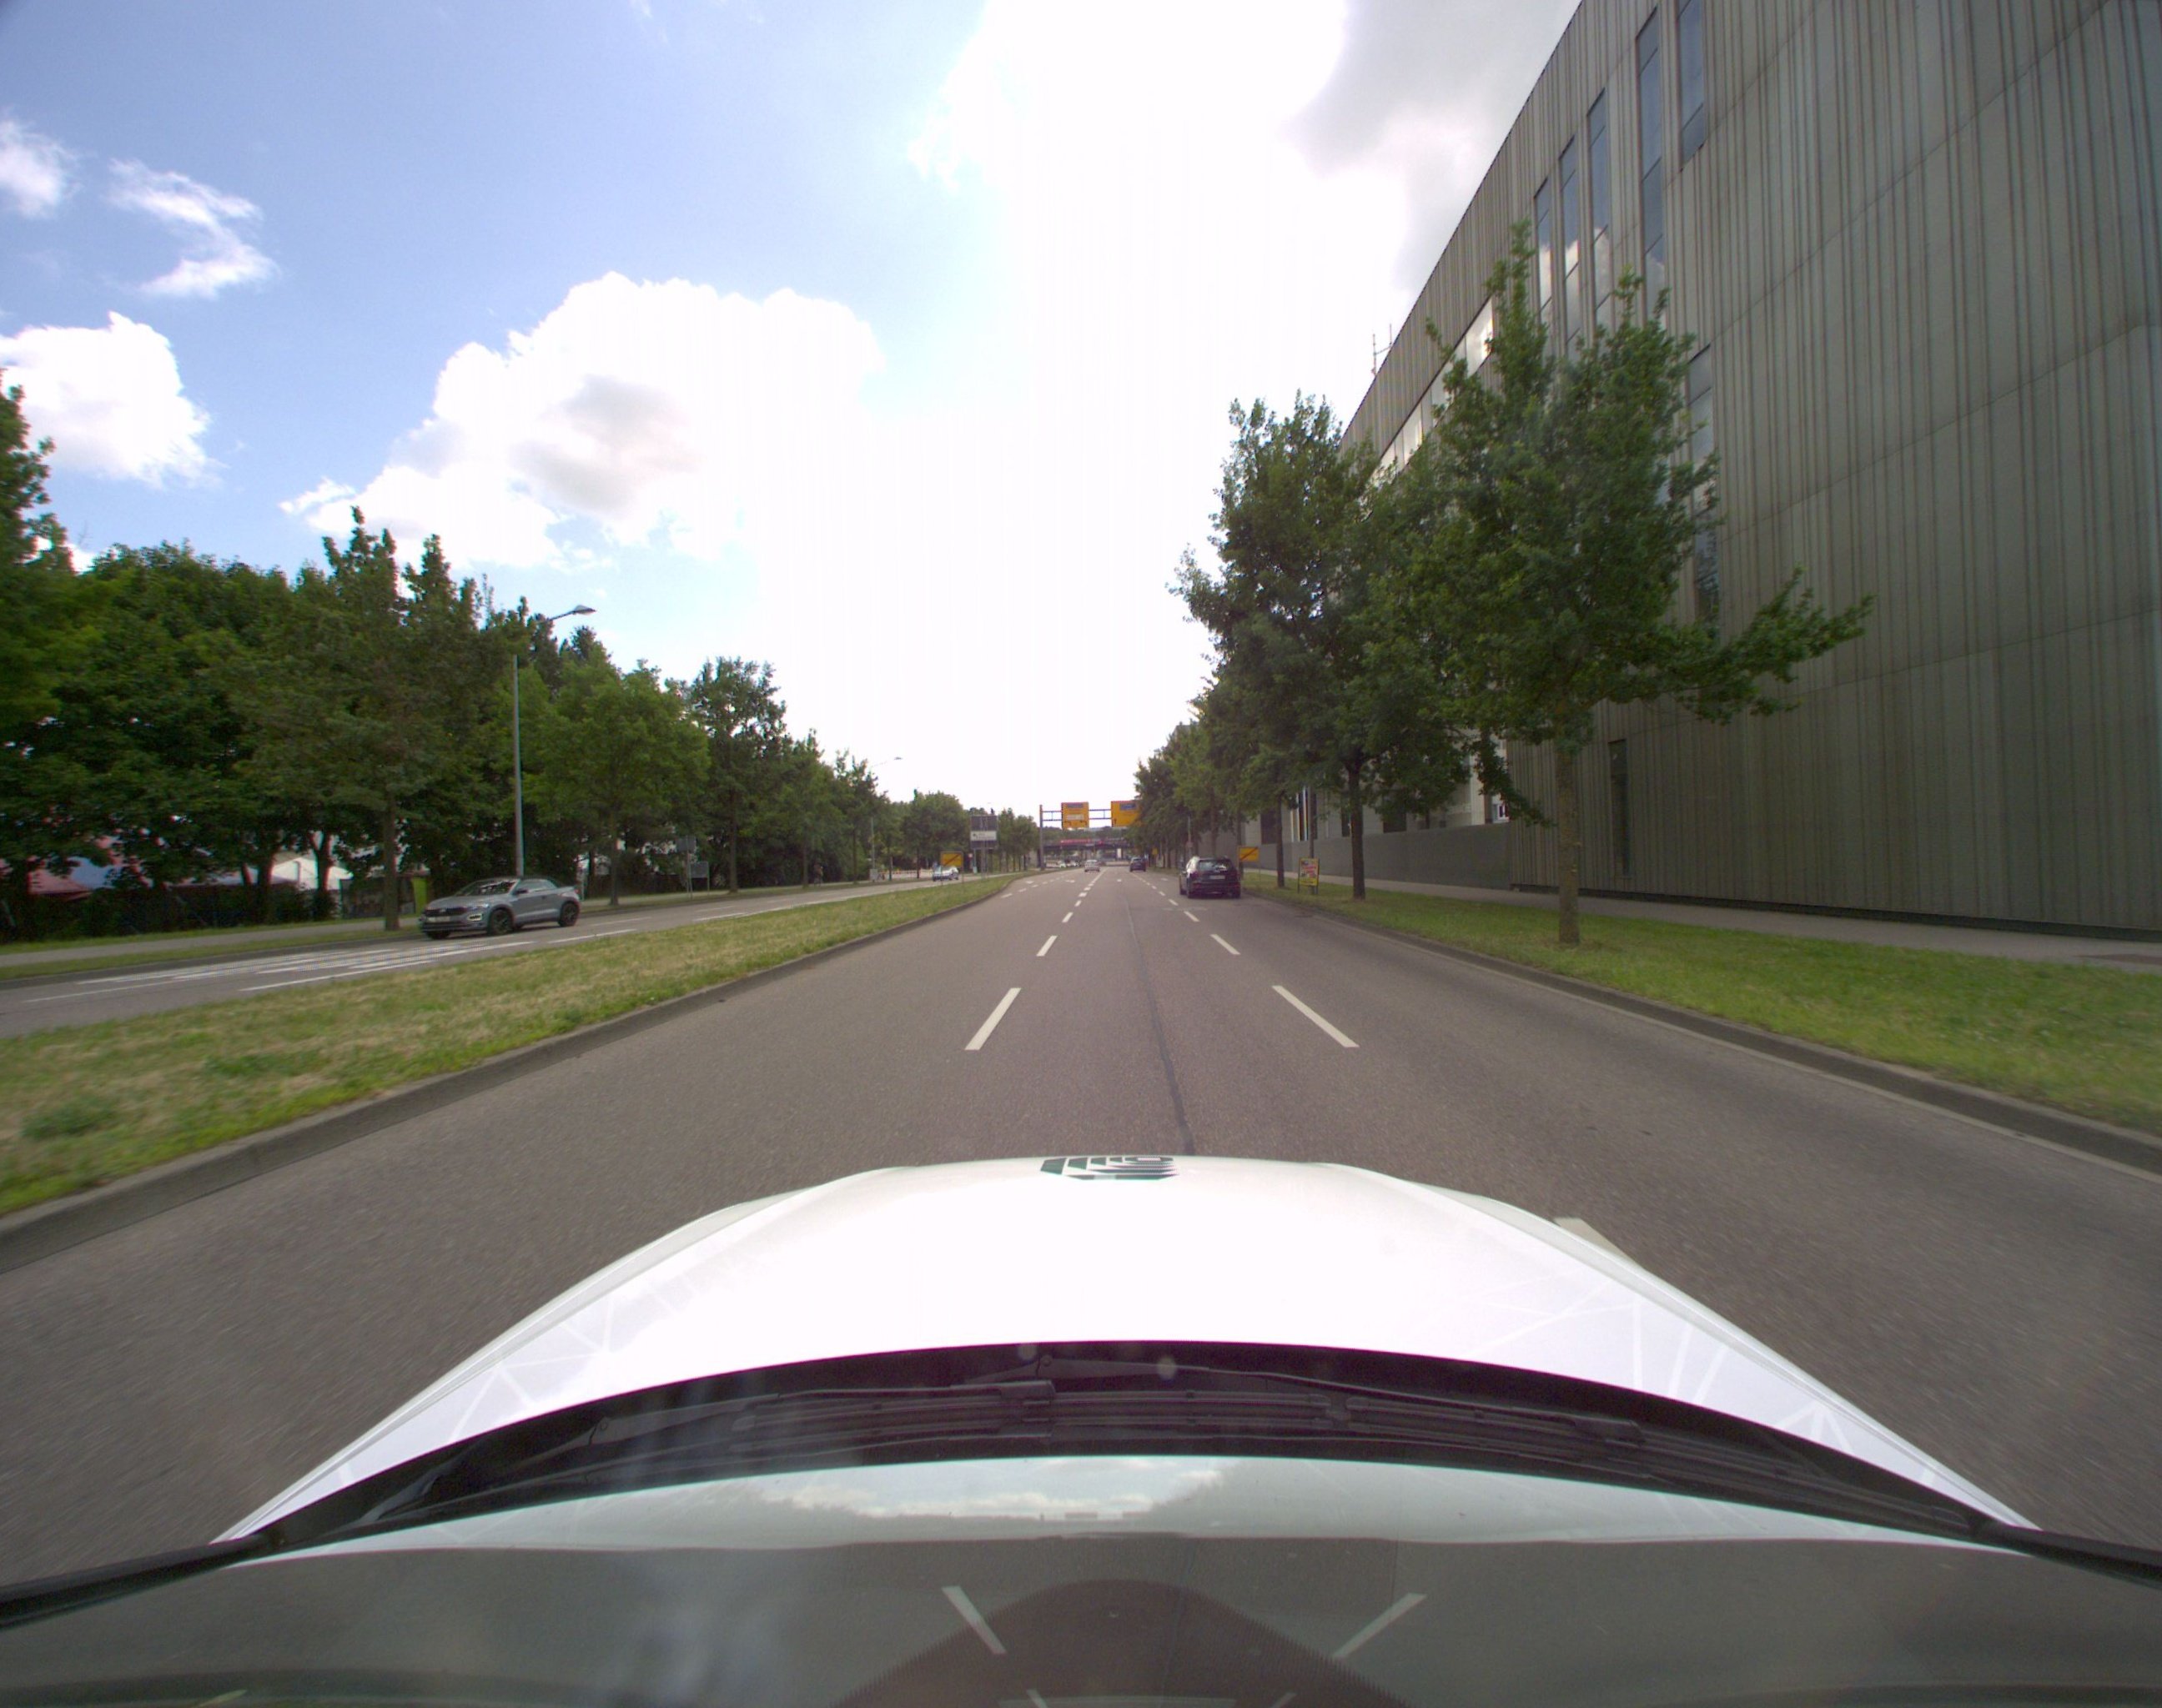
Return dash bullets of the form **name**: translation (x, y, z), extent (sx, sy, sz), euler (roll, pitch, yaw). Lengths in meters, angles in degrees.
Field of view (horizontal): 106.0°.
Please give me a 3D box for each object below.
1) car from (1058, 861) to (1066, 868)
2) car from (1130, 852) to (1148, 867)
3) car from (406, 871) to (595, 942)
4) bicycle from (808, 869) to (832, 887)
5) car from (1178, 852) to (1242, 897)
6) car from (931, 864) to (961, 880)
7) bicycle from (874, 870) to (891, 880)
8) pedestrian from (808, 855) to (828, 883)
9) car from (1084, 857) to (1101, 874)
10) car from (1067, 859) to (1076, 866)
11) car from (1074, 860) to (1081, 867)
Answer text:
- **car**: translation (-5.097, 2.817, 218.764), extent (1.986, 1.783, 4.000), euler (0, -2, 1)
- **car**: translation (6.806, 0.671, 95.705), extent (1.984, 1.626, 4.315), euler (-2, 0, 4)
- **car**: translation (-15.562, 1.341, 22.209), extent (1.735, 1.545, 4.574), euler (-3, 0, 1)
- **bicycle**: translation (-19.243, 1.788, 60.156), extent (0.804, 1.226, 2.504), euler (-2, 0, 3)
- **car**: translation (4.479, 0.704, 28.701), extent (1.678, 1.463, 4.001), euler (-1, -1, 1)
- **car**: translation (-12.284, 1.604, 74.399), extent (1.632, 1.329, 4.388), euler (-2, 0, 5)
- **bicycle**: translation (-22.011, 2.343, 90.218), extent (0.888, 1.059, 2.337), euler (-2, -1, -38)
- **pedestrian**: translation (-19.415, 1.094, 60.178), extent (0.966, 2.013, 1.250), euler (-1, 0, 3)
- **car**: translation (1.381, 1.388, 99.261), extent (1.987, 2.014, 3.999), euler (-1, -1, 0)
- **car**: translation (-2.562, 2.211, 210.810), extent (1.985, 1.618, 4.003), euler (-2, -1, 3)
- **car**: translation (-1.022, 2.736, 234.761), extent (1.986, 1.717, 4.002), euler (0, -2, 2)
